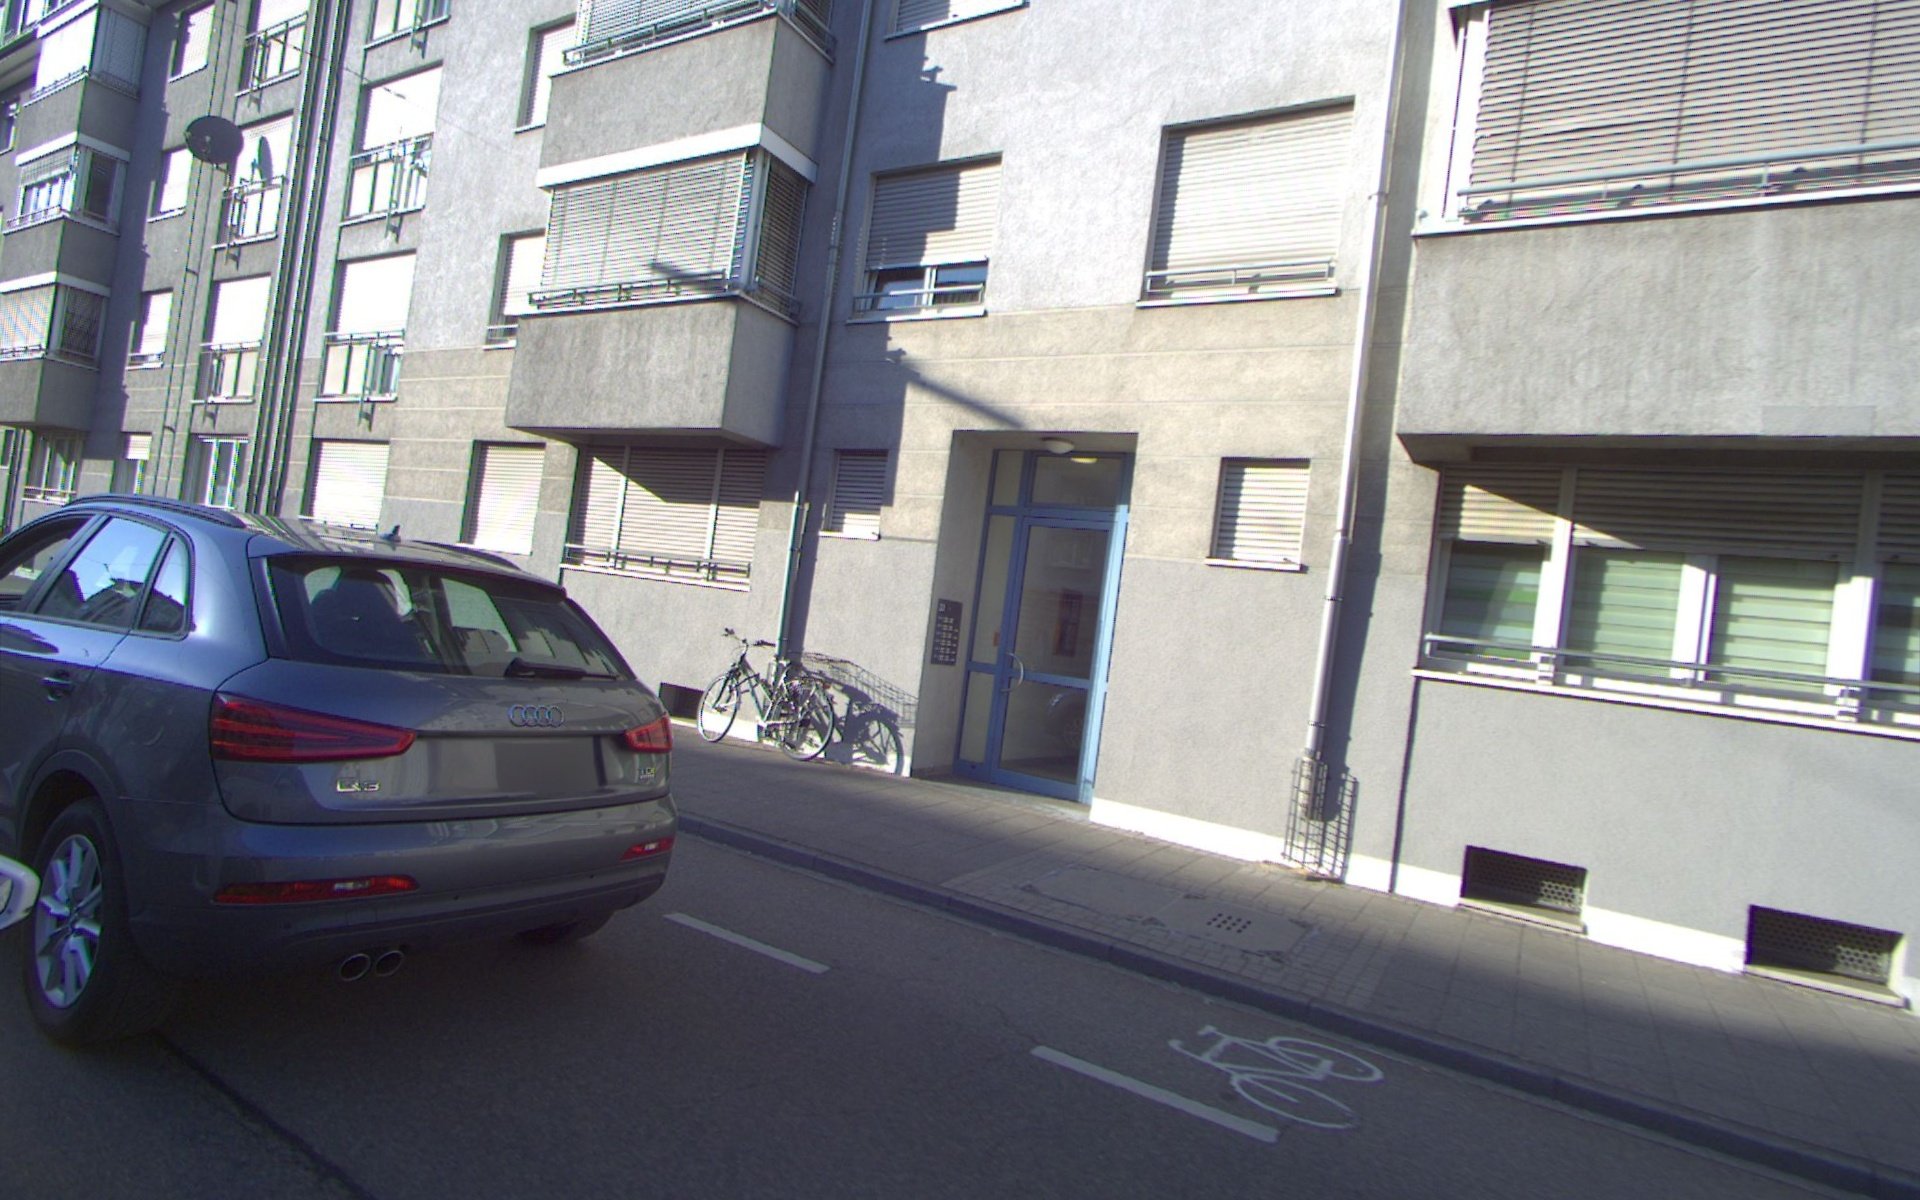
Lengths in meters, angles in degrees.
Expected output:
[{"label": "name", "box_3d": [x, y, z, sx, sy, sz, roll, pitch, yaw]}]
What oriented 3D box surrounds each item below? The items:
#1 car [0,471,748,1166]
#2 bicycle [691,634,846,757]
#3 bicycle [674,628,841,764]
[{"label": "car", "box_3d": [-3.065, 0.429, 4.184, 4.000, 1.606, 1.770, 7, -1, 31]}, {"label": "bicycle", "box_3d": [-1.941, 0.922, 10.058, 1.701, 0.984, 0.278, 7, 2, 31]}, {"label": "bicycle", "box_3d": [-1.970, 0.889, 9.669, 1.701, 1.045, 0.360, 7, 2, 31]}]
